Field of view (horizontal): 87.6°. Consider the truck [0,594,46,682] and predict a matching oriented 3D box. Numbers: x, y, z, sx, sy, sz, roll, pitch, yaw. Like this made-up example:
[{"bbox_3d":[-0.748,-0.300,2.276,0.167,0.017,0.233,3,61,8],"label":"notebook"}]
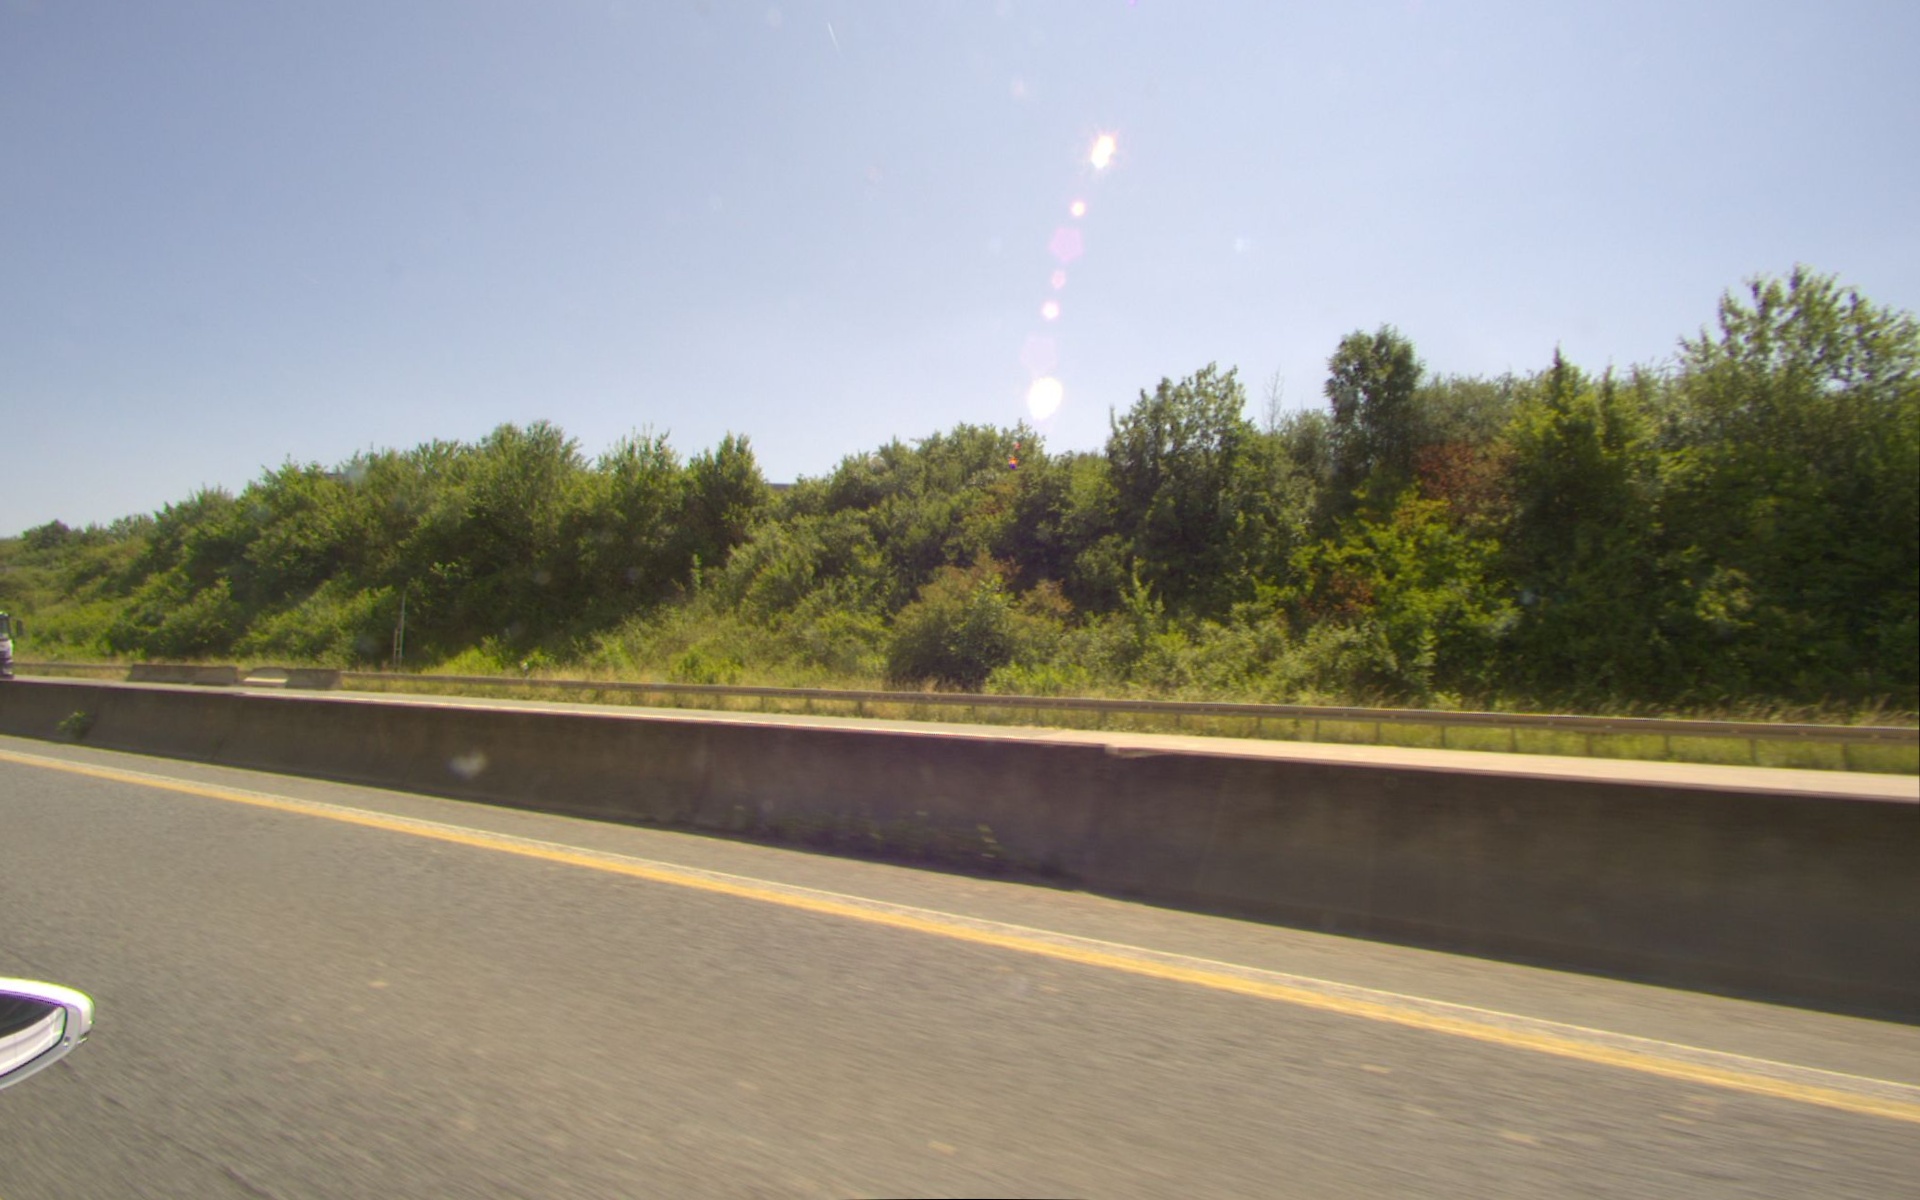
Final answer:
[{"bbox_3d":[-42.186,1.609,42.574,8.258,3.556,2.684,-1,-2,31],"label":"truck"}]
